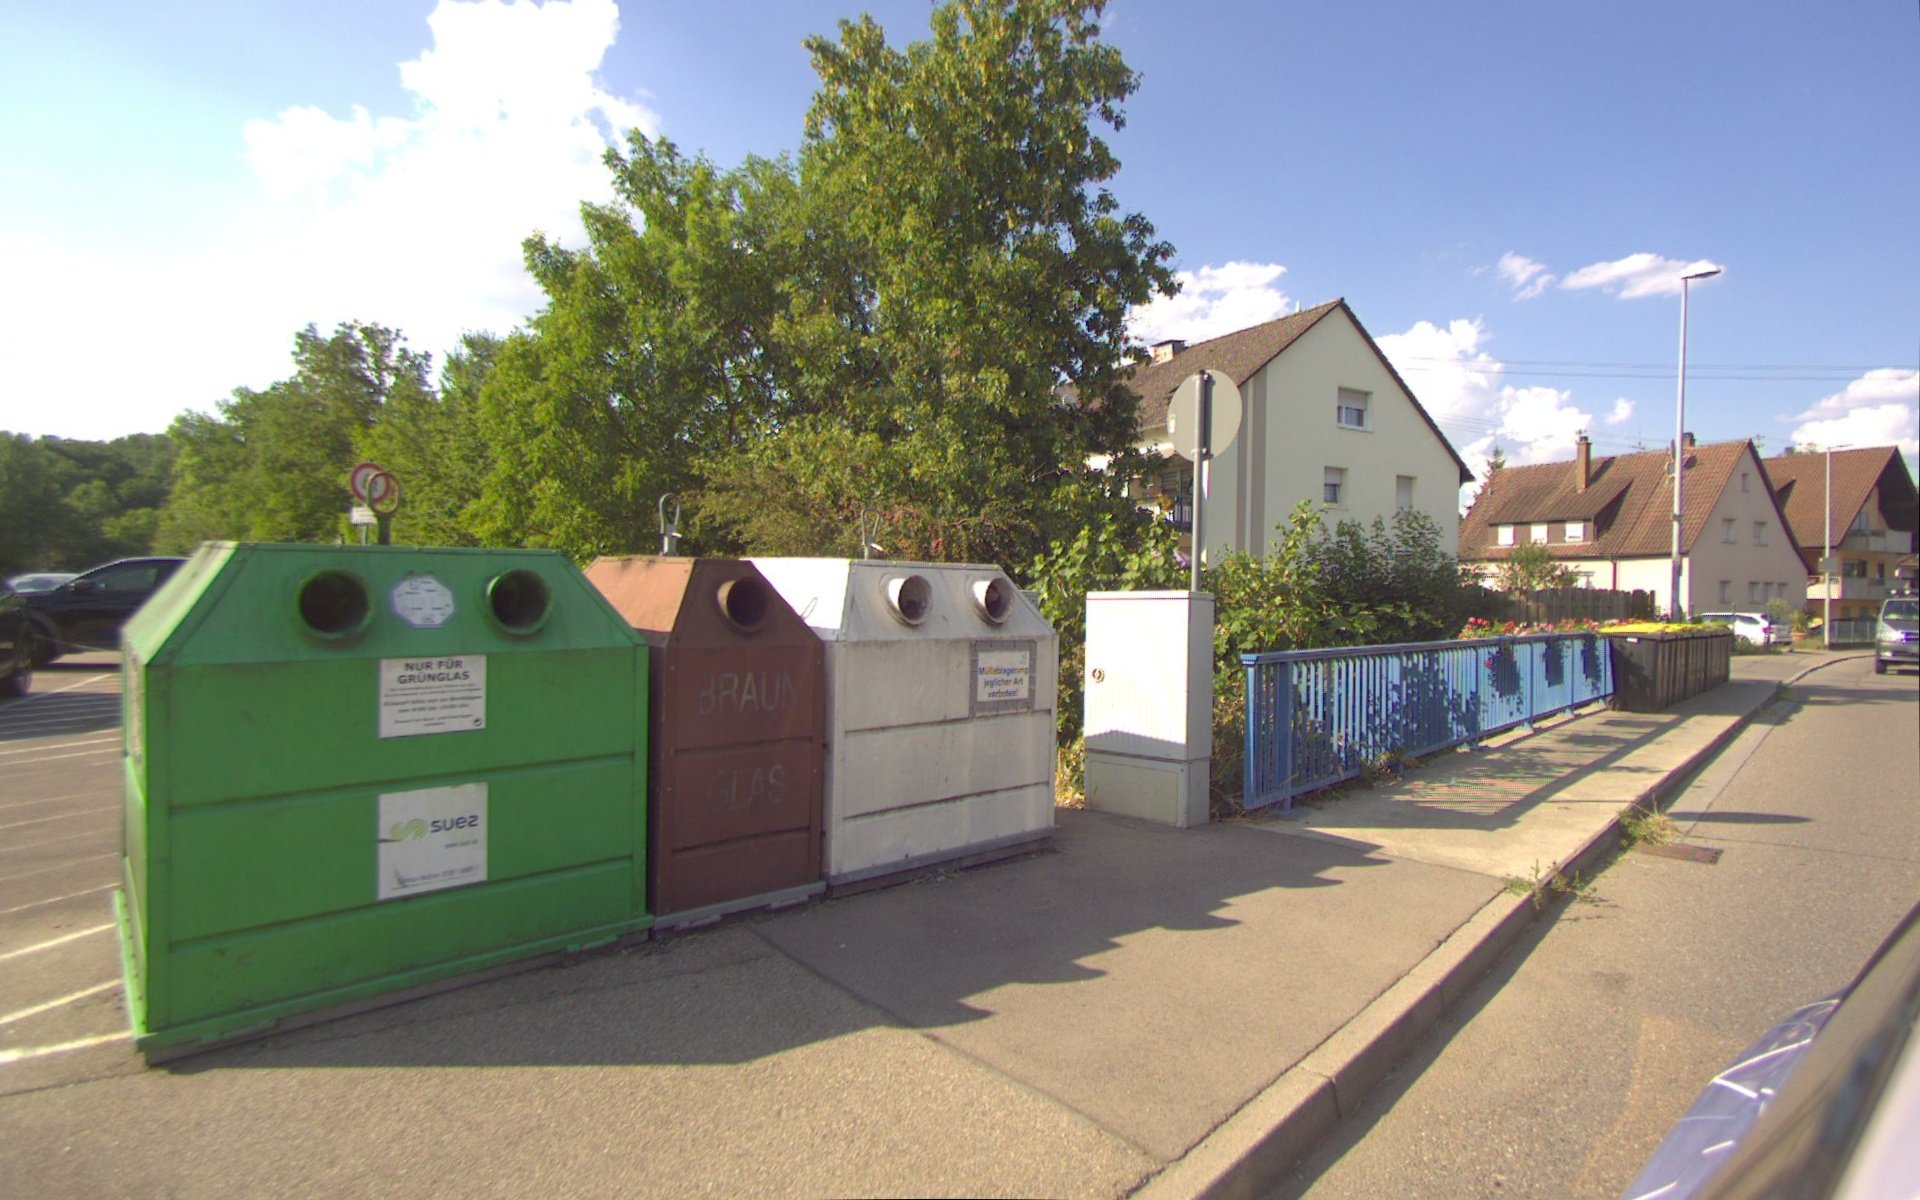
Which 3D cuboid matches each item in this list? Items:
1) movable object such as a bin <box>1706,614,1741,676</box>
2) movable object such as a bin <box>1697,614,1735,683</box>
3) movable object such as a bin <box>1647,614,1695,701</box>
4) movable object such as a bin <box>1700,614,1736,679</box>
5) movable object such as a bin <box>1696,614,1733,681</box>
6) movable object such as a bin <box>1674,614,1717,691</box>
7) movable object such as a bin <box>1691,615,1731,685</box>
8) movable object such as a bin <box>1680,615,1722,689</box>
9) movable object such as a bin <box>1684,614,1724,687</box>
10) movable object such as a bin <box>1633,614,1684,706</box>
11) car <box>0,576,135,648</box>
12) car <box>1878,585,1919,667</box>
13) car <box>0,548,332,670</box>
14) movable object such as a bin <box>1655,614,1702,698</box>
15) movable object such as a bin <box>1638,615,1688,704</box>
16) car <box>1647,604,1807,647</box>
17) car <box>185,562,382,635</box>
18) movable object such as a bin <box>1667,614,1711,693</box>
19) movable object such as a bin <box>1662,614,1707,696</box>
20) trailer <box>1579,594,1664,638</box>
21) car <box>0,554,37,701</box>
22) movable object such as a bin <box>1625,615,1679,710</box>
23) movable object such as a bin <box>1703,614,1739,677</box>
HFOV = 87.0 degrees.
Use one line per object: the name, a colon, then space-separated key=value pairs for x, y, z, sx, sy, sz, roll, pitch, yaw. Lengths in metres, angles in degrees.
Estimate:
movable object such as a bin: x=14.699 y=0.850 z=19.482 sx=0.478 sy=1.157 sz=0.530 roll=1 pitch=0 yaw=42
movable object such as a bin: x=13.227 y=0.839 z=17.710 sx=0.478 sy=1.157 sz=0.530 roll=1 pitch=0 yaw=42
movable object such as a bin: x=9.902 y=0.783 z=14.097 sx=0.478 sy=1.157 sz=0.530 roll=1 pitch=0 yaw=42
movable object such as a bin: x=13.969 y=0.844 z=18.647 sx=0.478 sy=1.157 sz=0.534 roll=1 pitch=0 yaw=42
movable object such as a bin: x=13.588 y=0.841 z=18.223 sx=0.478 sy=1.157 sz=0.530 roll=1 pitch=0 yaw=42
movable object such as a bin: x=11.534 y=0.811 z=15.867 sx=0.478 sy=1.157 sz=0.556 roll=1 pitch=0 yaw=42
movable object such as a bin: x=12.819 y=0.835 z=17.271 sx=0.478 sy=1.157 sz=0.530 roll=1 pitch=0 yaw=42
movable object such as a bin: x=11.980 y=0.828 z=16.363 sx=0.478 sy=1.157 sz=0.530 roll=1 pitch=0 yaw=42
movable object such as a bin: x=12.354 y=0.825 z=16.807 sx=0.478 sy=1.157 sz=0.530 roll=1 pitch=0 yaw=42
movable object such as a bin: x=9.141 y=0.766 z=13.240 sx=0.478 sy=1.157 sz=0.530 roll=1 pitch=0 yaw=42
car: x=-19.058 y=0.194 z=21.481 sx=1.593 sy=1.392 sz=4.195 roll=0 pitch=1 yaw=-28
car: x=25.391 y=0.695 z=26.526 sx=1.813 sy=2.025 sz=4.749 roll=1 pitch=-1 yaw=41
car: x=-12.086 y=0.123 z=15.711 sx=3.876 sy=1.674 sz=1.683 roll=0 pitch=1 yaw=-35
movable object such as a bin: x=10.299 y=0.788 z=14.511 sx=0.478 sy=1.157 sz=0.530 roll=1 pitch=0 yaw=42
movable object such as a bin: x=9.499 y=0.787 z=13.669 sx=0.478 sy=1.157 sz=0.530 roll=1 pitch=0 yaw=42
car: x=28.546 y=0.907 z=37.841 sx=1.695 sy=1.476 sz=4.485 roll=0 pitch=0 yaw=-28
car: x=-15.003 y=-0.042 z=22.668 sx=3.503 sy=1.519 sz=1.685 roll=1 pitch=1 yaw=-29
movable object such as a bin: x=11.100 y=0.801 z=15.403 sx=0.478 sy=1.157 sz=0.530 roll=1 pitch=0 yaw=42
movable object such as a bin: x=10.719 y=0.801 z=14.972 sx=0.478 sy=1.157 sz=0.530 roll=1 pitch=0 yaw=42
trailer: x=27.799 y=0.670 z=42.523 sx=3.150 sy=1.774 sz=1.528 roll=2 pitch=-1 yaw=-25
car: x=-10.070 y=0.292 z=9.294 sx=1.649 sy=1.467 sz=3.955 roll=0 pitch=1 yaw=-32
movable object such as a bin: x=8.770 y=0.778 z=12.824 sx=0.478 sy=1.157 sz=0.530 roll=1 pitch=0 yaw=42
movable object such as a bin: x=14.339 y=0.847 z=19.075 sx=0.478 sy=1.157 sz=0.530 roll=1 pitch=0 yaw=42
